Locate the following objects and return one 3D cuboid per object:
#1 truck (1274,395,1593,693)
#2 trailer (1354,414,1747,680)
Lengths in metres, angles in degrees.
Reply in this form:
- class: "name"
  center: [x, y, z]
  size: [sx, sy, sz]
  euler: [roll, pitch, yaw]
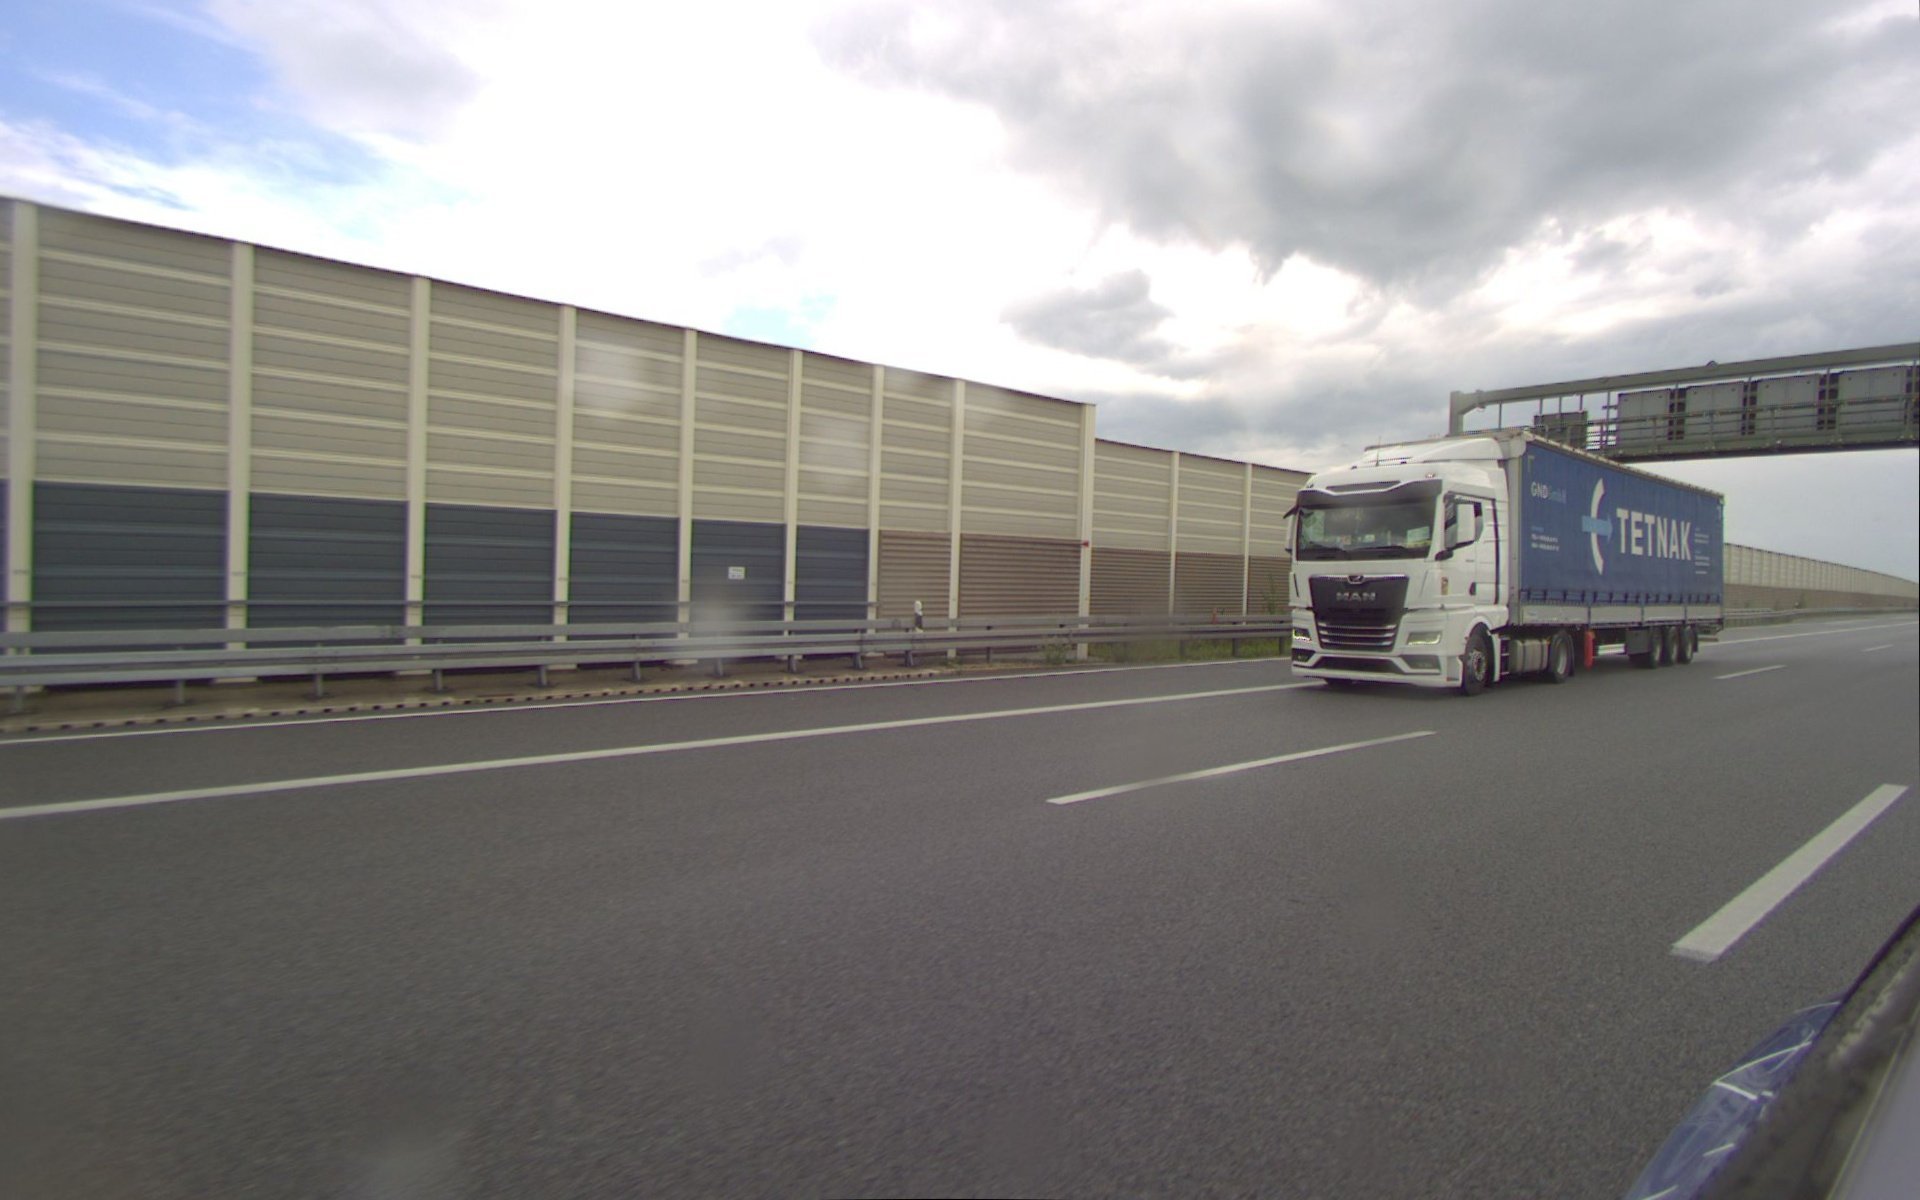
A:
- class: "truck"
  center: [7.994, -0.796, 16.800]
  size: [5.626, 4.085, 2.749]
  euler: [0, 1, -41]
- class: "trailer"
  center: [13.124, -0.843, 21.274]
  size: [14.201, 4.082, 2.766]
  euler: [0, 1, -41]
